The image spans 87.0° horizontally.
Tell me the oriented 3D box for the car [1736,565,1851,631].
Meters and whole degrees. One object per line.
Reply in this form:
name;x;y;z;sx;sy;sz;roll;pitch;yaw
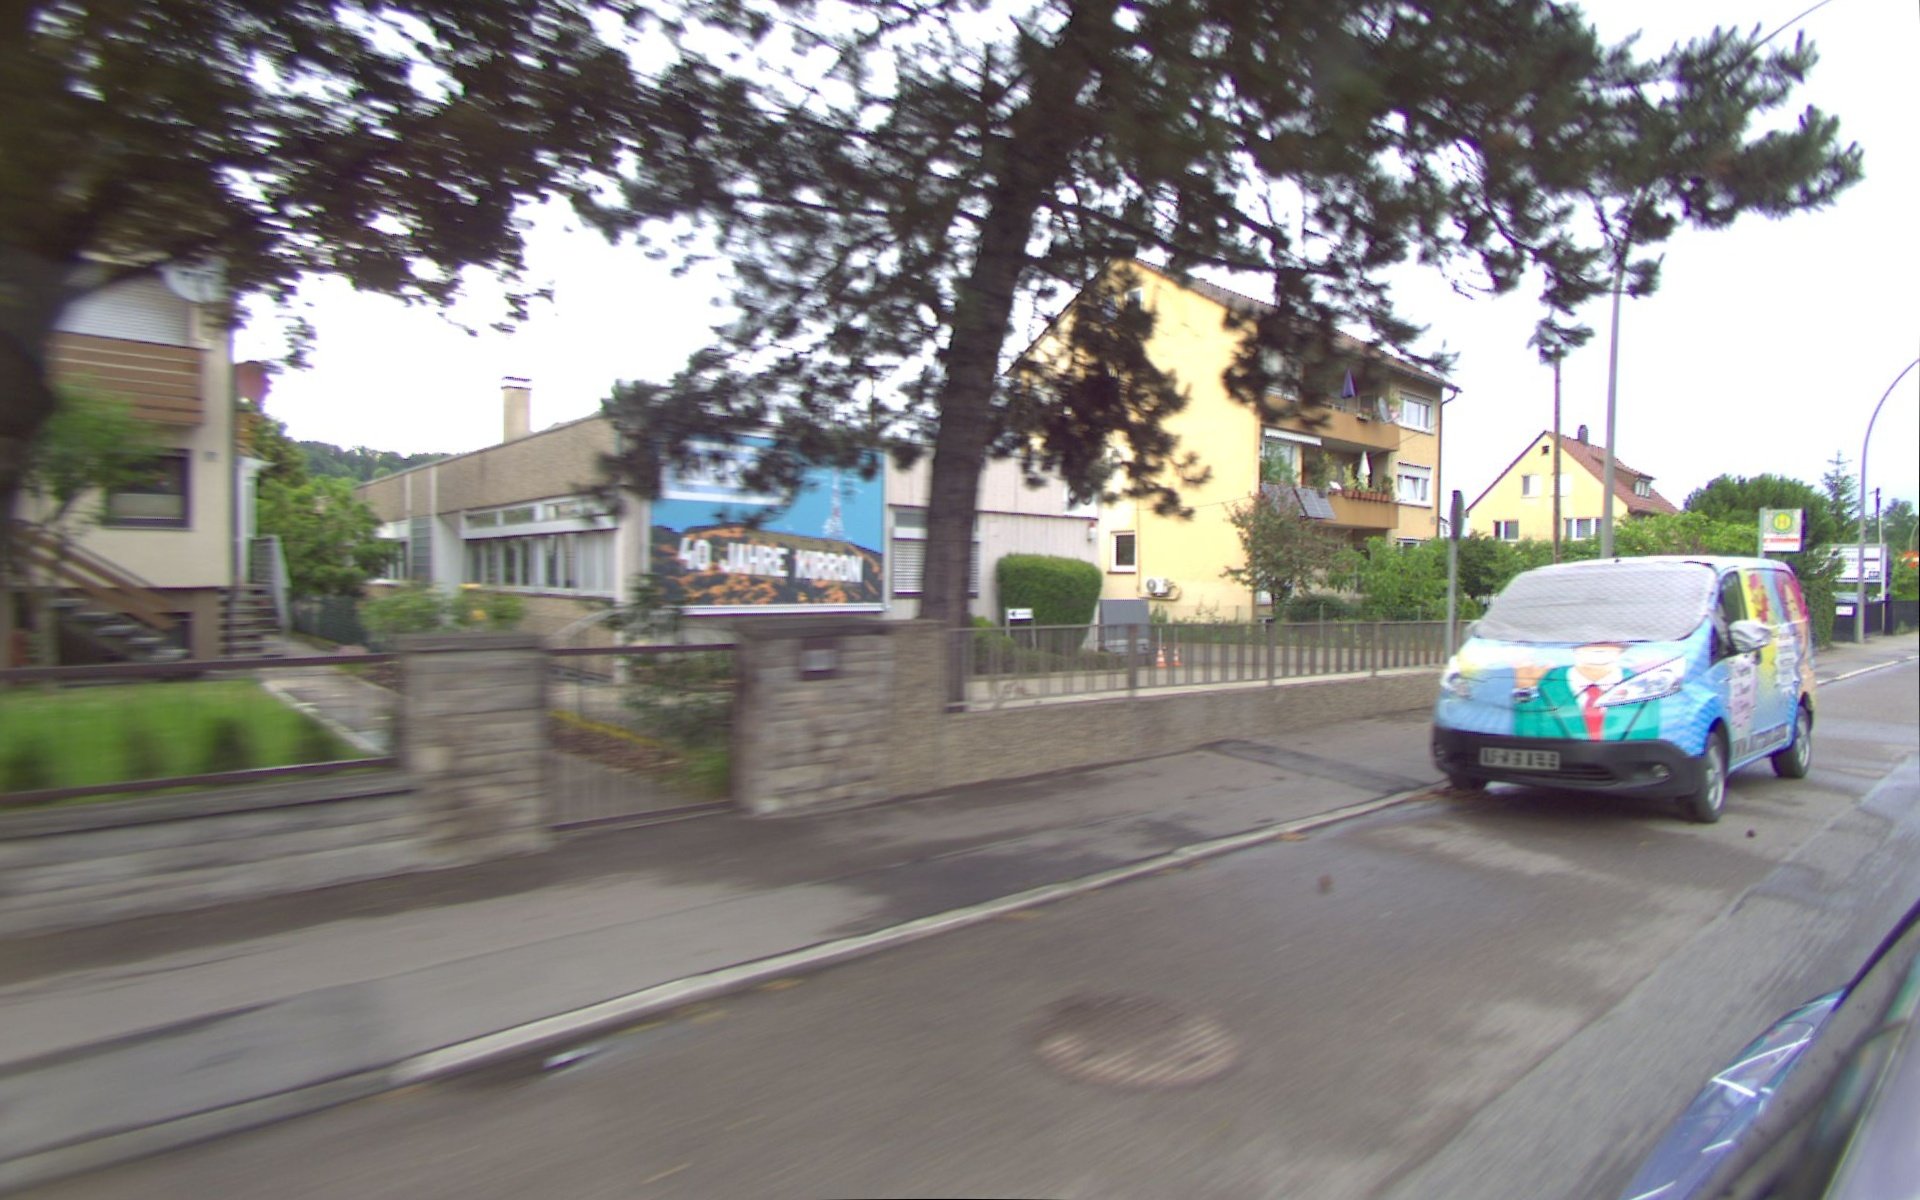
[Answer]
car;34.648;-0.092;42.109;1.916;2.645;3.452;0;0;-42

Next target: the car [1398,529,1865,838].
car;5.870;0.498;8.477;5.454;1.851;1.735;0;-1;-40
